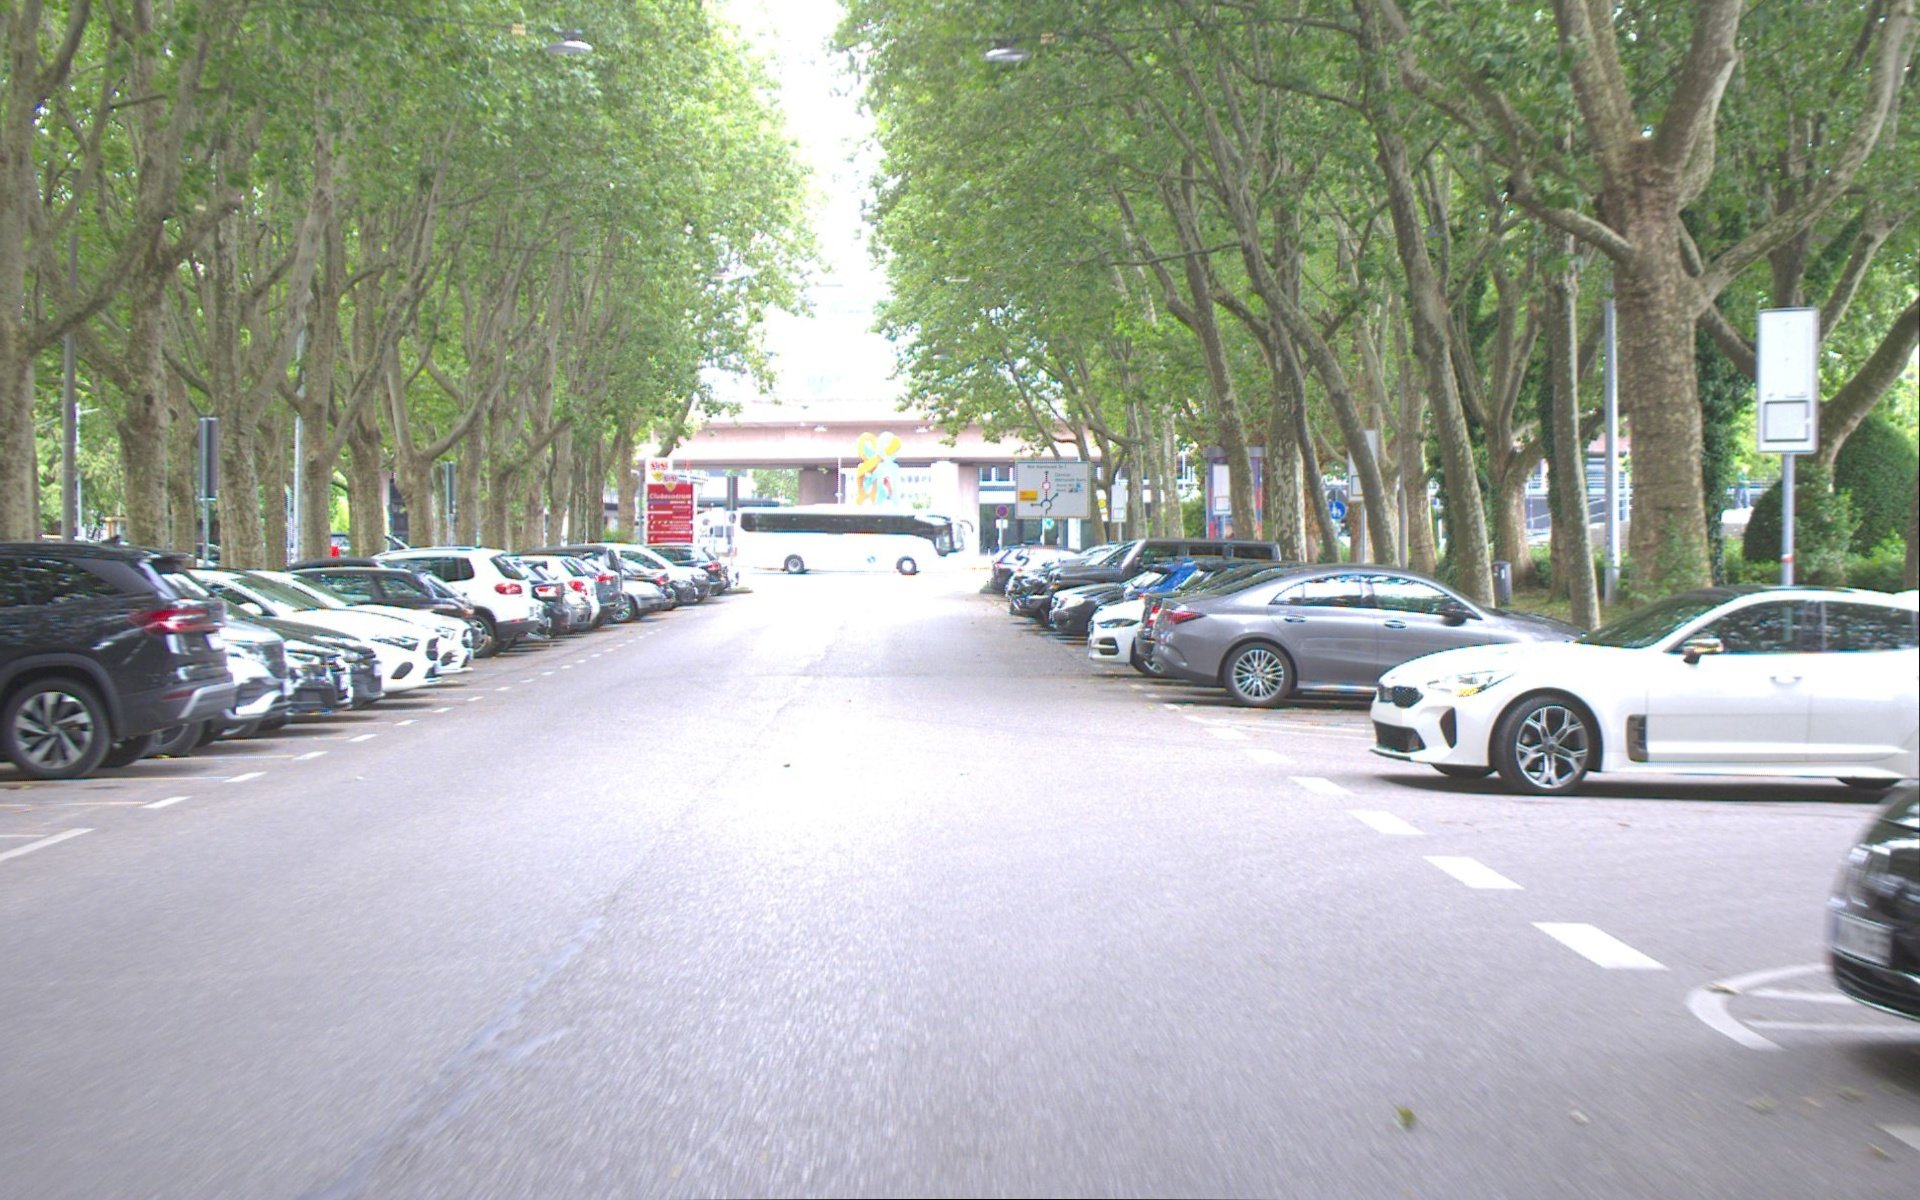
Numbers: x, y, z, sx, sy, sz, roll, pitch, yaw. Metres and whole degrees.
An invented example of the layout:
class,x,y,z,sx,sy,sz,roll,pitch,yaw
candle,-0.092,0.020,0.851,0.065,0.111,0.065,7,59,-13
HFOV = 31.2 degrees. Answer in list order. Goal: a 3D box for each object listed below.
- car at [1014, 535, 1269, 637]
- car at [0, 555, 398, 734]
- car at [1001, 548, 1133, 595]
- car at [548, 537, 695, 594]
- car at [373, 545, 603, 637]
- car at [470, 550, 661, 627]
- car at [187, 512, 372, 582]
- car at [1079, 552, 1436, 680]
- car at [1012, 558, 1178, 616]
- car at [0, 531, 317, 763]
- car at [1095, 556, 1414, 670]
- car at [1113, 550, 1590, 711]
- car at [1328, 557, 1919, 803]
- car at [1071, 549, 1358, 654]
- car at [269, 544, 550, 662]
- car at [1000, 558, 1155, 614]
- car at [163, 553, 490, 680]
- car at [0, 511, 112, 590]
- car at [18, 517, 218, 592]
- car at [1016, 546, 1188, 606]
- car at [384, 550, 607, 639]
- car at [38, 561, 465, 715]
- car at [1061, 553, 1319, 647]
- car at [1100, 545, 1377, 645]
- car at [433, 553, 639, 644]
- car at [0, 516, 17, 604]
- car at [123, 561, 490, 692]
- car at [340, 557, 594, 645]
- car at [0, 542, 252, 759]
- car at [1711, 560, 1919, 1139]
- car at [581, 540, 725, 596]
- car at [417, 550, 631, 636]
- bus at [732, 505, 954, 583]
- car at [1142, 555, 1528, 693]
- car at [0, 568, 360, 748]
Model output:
class,x,y,z,sx,sy,sz,roll,pitch,yaw
car,3.232,-0.255,61.724,4.376,1.745,1.731,1,1,-3
car,-7.243,0.394,31.777,3.813,1.479,1.662,-2,1,-2
car,3.577,-0.977,115.858,4.376,1.517,1.731,1,1,0
car,-9.257,-0.946,94.188,3.814,1.510,1.686,1,1,2
car,-8.555,-0.174,62.427,3.814,1.510,1.686,-2,1,5
car,-8.539,-0.266,74.626,3.814,1.510,1.686,-2,1,5
car,-20.551,-1.603,103.929,5.078,2.008,2.175,1,1,3
car,3.557,0.174,41.434,4.176,1.437,1.731,1,1,4
car,3.687,-0.361,94.437,4.376,1.517,1.731,1,1,-3
car,-7.418,0.386,26.774,4.471,1.671,1.762,-2,1,-2
car,3.951,0.160,46.382,4.176,1.437,1.731,1,1,4
car,3.846,0.274,34.314,4.575,1.481,2.000,1,1,4
car,5.156,0.542,22.938,4.930,1.397,2.001,3,1,-11
car,3.753,0.011,51.182,4.048,1.463,1.731,1,1,-3
car,-8.260,0.032,51.788,3.814,1.597,1.785,-2,1,5
car,3.347,-0.416,98.416,4.376,1.517,1.731,1,1,0
car,-8.181,0.202,44.587,3.814,1.479,1.662,-2,1,5
car,-25.165,-1.343,90.492,5.078,2.008,2.175,1,1,3
car,-23.782,-1.288,97.202,5.078,2.008,2.175,1,1,3
car,3.748,-0.646,90.930,4.376,1.517,1.731,1,1,-3
car,-8.689,-0.111,64.501,3.814,1.510,1.686,-2,1,5
car,-7.031,0.363,34.308,3.814,1.349,1.662,-2,1,5
car,3.761,-0.013,56.694,4.048,1.463,1.731,1,1,-3
car,4.269,-0.081,53.155,4.048,1.463,1.731,1,1,-3
car,-8.560,-0.041,69.588,3.814,1.684,1.686,-2,1,5
car,-23.980,-0.957,78.315,4.352,2.008,2.175,1,1,3
car,-7.491,0.295,39.598,3.814,1.326,1.662,-2,1,5
car,-8.138,0.004,56.931,3.814,1.292,1.785,-2,1,5
car,-7.534,0.388,24.255,4.664,1.422,2.000,-2,1,-2
car,4.709,0.705,9.736,4.659,1.447,1.926,2,1,-2
car,-8.603,-0.898,96.442,3.814,1.510,1.686,1,1,2
car,-8.443,-0.138,66.716,3.814,1.510,1.686,-2,1,5
bus,-6.273,-2.993,184.114,11.578,3.957,2.453,-1,0,11
car,4.149,0.253,38.471,4.176,1.437,1.731,1,1,4
car,-7.381,0.496,29.432,4.166,1.376,1.871,-2,1,-2
